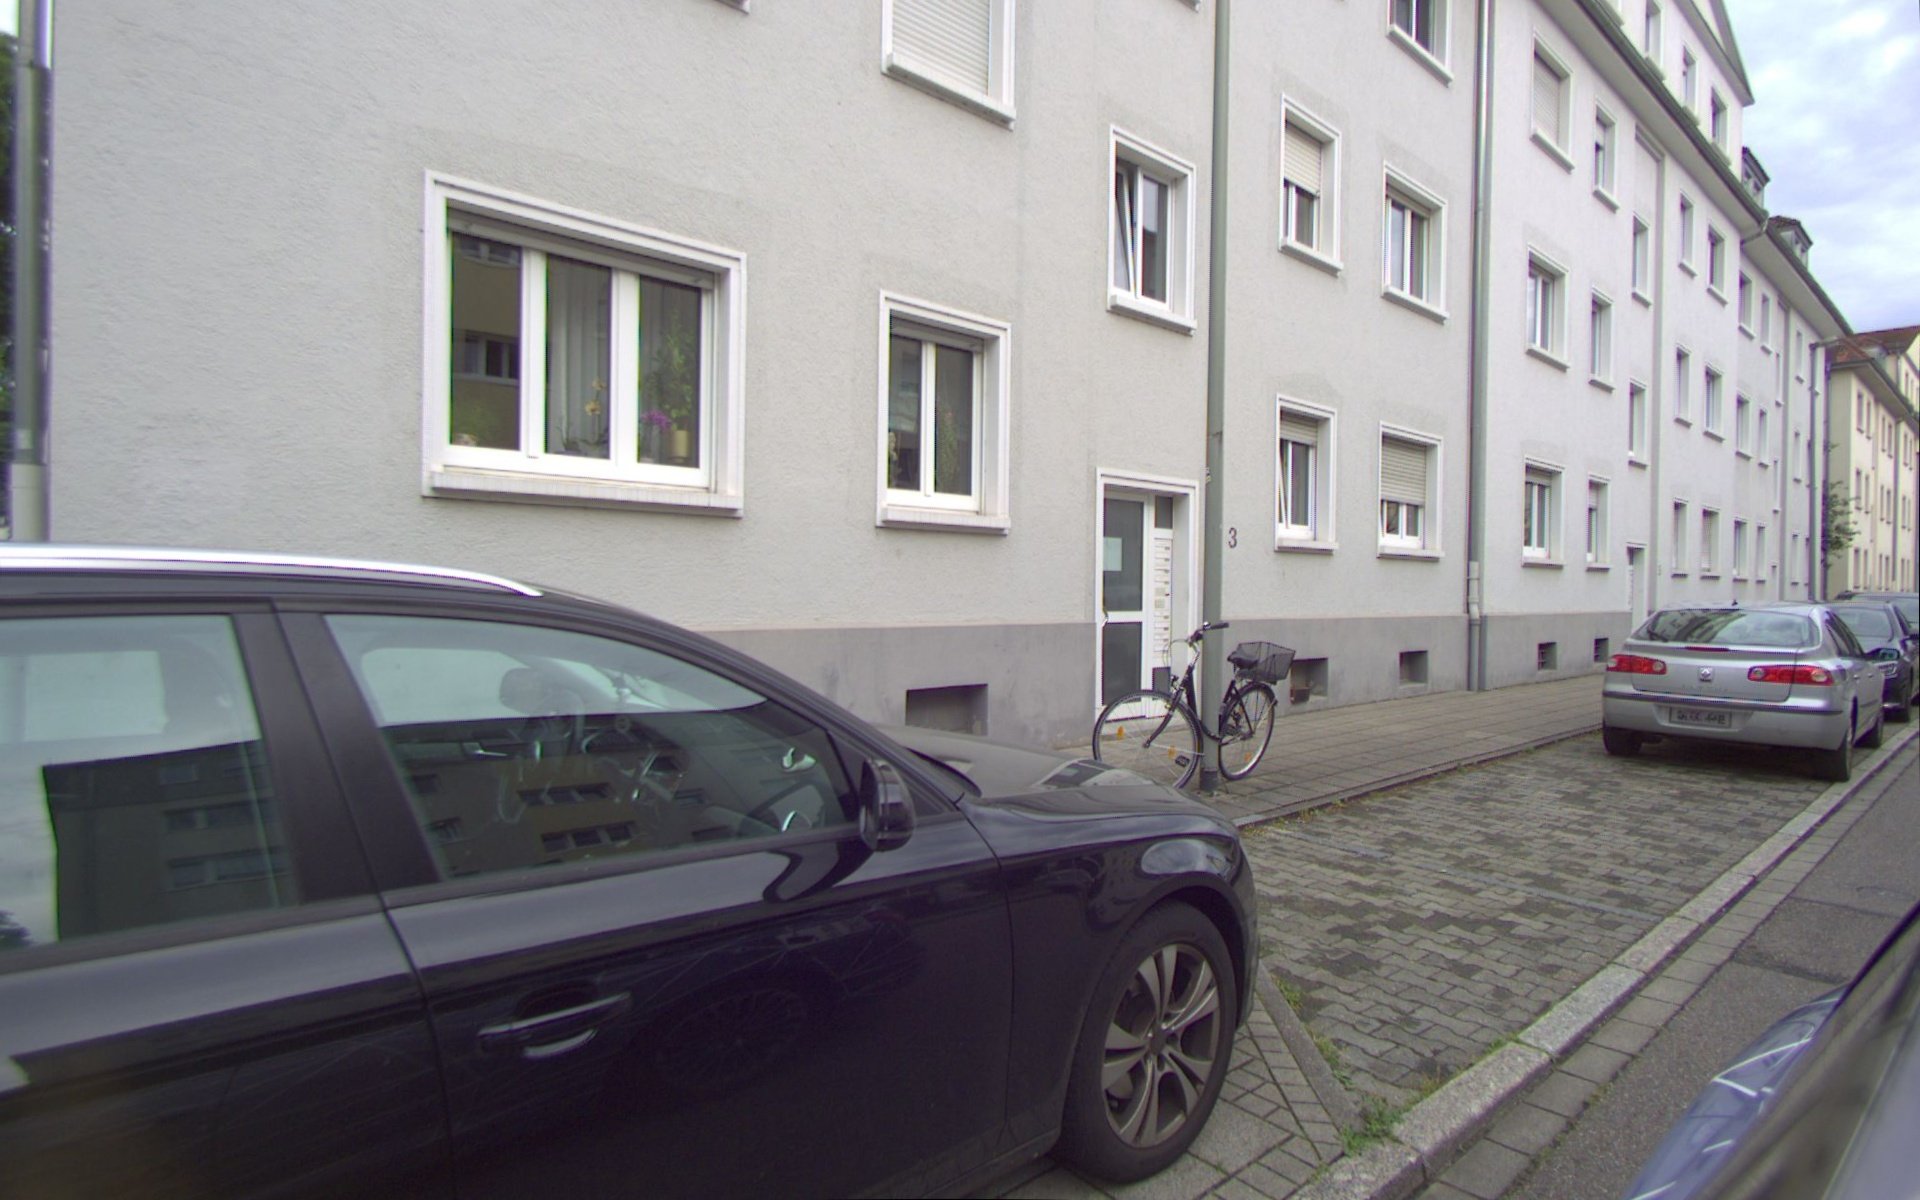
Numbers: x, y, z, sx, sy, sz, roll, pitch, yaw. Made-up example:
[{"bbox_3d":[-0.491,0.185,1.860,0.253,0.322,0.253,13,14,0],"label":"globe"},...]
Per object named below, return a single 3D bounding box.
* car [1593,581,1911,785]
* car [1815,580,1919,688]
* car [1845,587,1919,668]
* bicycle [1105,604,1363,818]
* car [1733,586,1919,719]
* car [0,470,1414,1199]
[{"bbox_3d":[7.648,0.607,9.599,4.356,1.481,1.734,0,1,-44],"label":"car"},{"bbox_3d":[15.899,0.526,17.036,4.090,1.619,1.850,0,1,-43],"label":"car"},{"bbox_3d":[19.421,0.528,20.563,3.692,1.505,1.735,0,1,-42],"label":"car"},{"bbox_3d":[1.897,0.658,6.853,1.862,1.215,0.750,0,2,-42],"label":"bicycle"},{"bbox_3d":[11.854,0.589,13.493,4.250,1.481,1.784,0,1,-43],"label":"car"},{"bbox_3d":[-0.981,0.591,2.096,4.646,1.481,1.863,0,2,-43],"label":"car"}]
